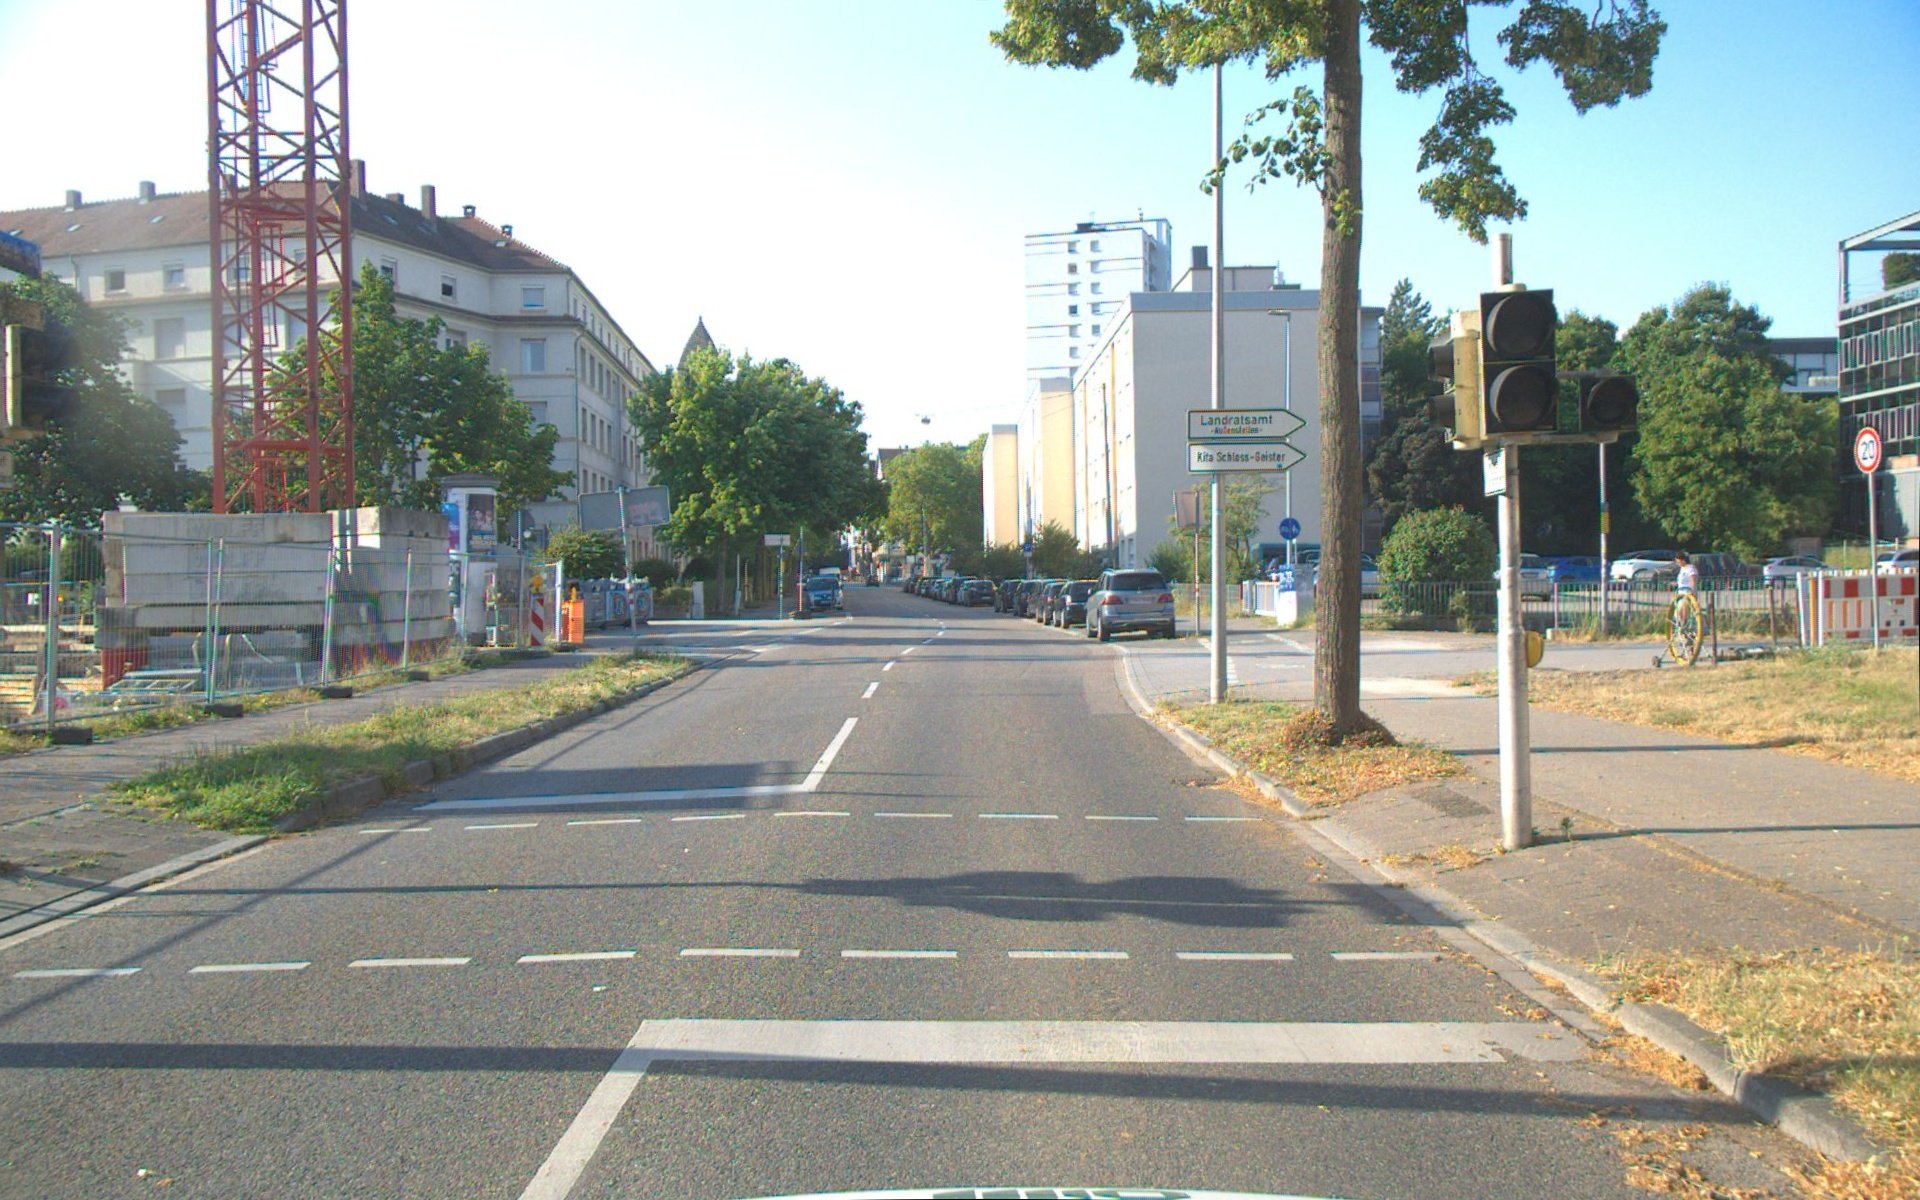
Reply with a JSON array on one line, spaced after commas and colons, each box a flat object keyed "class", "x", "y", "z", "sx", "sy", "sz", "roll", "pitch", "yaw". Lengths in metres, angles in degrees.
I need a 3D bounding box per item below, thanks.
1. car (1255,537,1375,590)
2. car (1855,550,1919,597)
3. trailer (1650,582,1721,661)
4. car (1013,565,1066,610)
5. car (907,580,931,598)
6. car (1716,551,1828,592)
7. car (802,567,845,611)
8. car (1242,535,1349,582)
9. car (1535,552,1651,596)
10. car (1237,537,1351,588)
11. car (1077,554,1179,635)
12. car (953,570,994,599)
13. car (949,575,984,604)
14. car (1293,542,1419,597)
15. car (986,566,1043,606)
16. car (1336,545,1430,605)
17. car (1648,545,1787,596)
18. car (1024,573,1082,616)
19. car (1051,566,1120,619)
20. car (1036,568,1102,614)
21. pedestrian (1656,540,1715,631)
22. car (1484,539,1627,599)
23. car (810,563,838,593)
[{"class": "car", "x": 13.073, "y": -1.327, "z": 61.007, "sx": 3.908, "sy": 1.825, "sz": 1.998, "roll": 1, "pitch": 0, "yaw": -4}, {"class": "car", "x": 37.806, "y": -1.017, "z": 65.043, "sx": 4.189, "sy": 1.755, "sz": 1.998, "roll": 1, "pitch": 0, "yaw": -4}, {"class": "trailer", "x": 10.317, "y": 0.303, "z": 23.558, "sx": 0.472, "sy": 1.085, "sz": 1.267, "roll": 1, "pitch": 0, "yaw": 2}, {"class": "car", "x": 3.325, "y": -0.491, "z": 69.889, "sx": 1.863, "sy": 1.810, "sz": 4.580, "roll": 1, "pitch": 0, "yaw": -2}, {"class": "car", "x": -4.103, "y": -1.110, "z": 165.021, "sx": 1.863, "sy": 1.680, "sz": 4.333, "roll": 1, "pitch": 2, "yaw": -10}, {"class": "car", "x": 37.082, "y": -1.283, "z": 75.574, "sx": 4.189, "sy": 1.755, "sz": 1.998, "roll": 1, "pitch": 0, "yaw": -4}, {"class": "car", "x": -6.701, "y": -0.520, "z": 81.660, "sx": 1.805, "sy": 1.929, "sz": 4.484, "roll": 6, "pitch": -1, "yaw": -3}, {"class": "car", "x": 13.838, "y": -1.697, "z": 68.367, "sx": 3.908, "sy": 1.825, "sz": 1.998, "roll": 1, "pitch": 0, "yaw": -4}, {"class": "car", "x": 27.133, "y": -1.107, "z": 70.970, "sx": 4.189, "sy": 1.755, "sz": 1.998, "roll": 1, "pitch": 0, "yaw": -4}, {"class": "car", "x": 12.786, "y": -1.414, "z": 63.423, "sx": 3.907, "sy": 1.825, "sz": 1.999, "roll": 1, "pitch": 0, "yaw": -3}, {"class": "car", "x": 4.254, "y": -0.121, "z": 42.573, "sx": 1.883, "sy": 1.809, "sz": 4.808, "roll": -4, "pitch": 0, "yaw": -2}, {"class": "car", "x": 0.767, "y": -0.887, "z": 94.583, "sx": 1.764, "sy": 1.533, "sz": 4.615, "roll": -2, "pitch": 0, "yaw": -6}, {"class": "car", "x": 0.376, "y": -0.645, "z": 105.891, "sx": 1.737, "sy": 1.706, "sz": 4.642, "roll": -4, "pitch": 0, "yaw": -5}, {"class": "car", "x": 13.921, "y": -1.044, "z": 58.269, "sx": 3.908, "sy": 1.825, "sz": 1.998, "roll": 1, "pitch": 0, "yaw": -4}, {"class": "car", "x": 2.501, "y": -0.624, "z": 76.832, "sx": 1.851, "sy": 1.587, "sz": 4.940, "roll": -7, "pitch": 1, "yaw": -6}, {"class": "car", "x": 12.531, "y": -0.710, "z": 49.179, "sx": 1.620, "sy": 1.691, "sz": 3.998, "roll": 1, "pitch": 0, "yaw": -2}, {"class": "car", "x": 27.813, "y": -1.070, "z": 60.797, "sx": 4.189, "sy": 1.755, "sz": 1.998, "roll": 1, "pitch": 0, "yaw": -4}, {"class": "car", "x": 3.568, "y": -0.245, "z": 64.060, "sx": 1.618, "sy": 1.461, "sz": 3.956, "roll": -1, "pitch": 2, "yaw": -6}, {"class": "car", "x": 4.024, "y": -0.230, "z": 53.684, "sx": 1.707, "sy": 1.567, "sz": 4.438, "roll": -2, "pitch": 0, "yaw": -2}, {"class": "car", "x": 3.858, "y": -0.294, "z": 59.260, "sx": 1.863, "sy": 1.556, "sz": 4.808, "roll": 1, "pitch": 0, "yaw": -2}, {"class": "pedestrian", "x": 13.355, "y": -0.264, "z": 30.457, "sx": 0.700, "sy": 1.639, "sz": 0.789, "roll": 1, "pitch": -1, "yaw": -6}, {"class": "car", "x": 19.270, "y": -0.971, "z": 53.619, "sx": 3.908, "sy": 1.825, "sz": 1.998, "roll": 1, "pitch": 0, "yaw": -4}, {"class": "car", "x": -11.980, "y": -1.887, "z": 145.907, "sx": 2.311, "sy": 2.488, "sz": 6.159, "roll": 1, "pitch": 0, "yaw": -4}]
